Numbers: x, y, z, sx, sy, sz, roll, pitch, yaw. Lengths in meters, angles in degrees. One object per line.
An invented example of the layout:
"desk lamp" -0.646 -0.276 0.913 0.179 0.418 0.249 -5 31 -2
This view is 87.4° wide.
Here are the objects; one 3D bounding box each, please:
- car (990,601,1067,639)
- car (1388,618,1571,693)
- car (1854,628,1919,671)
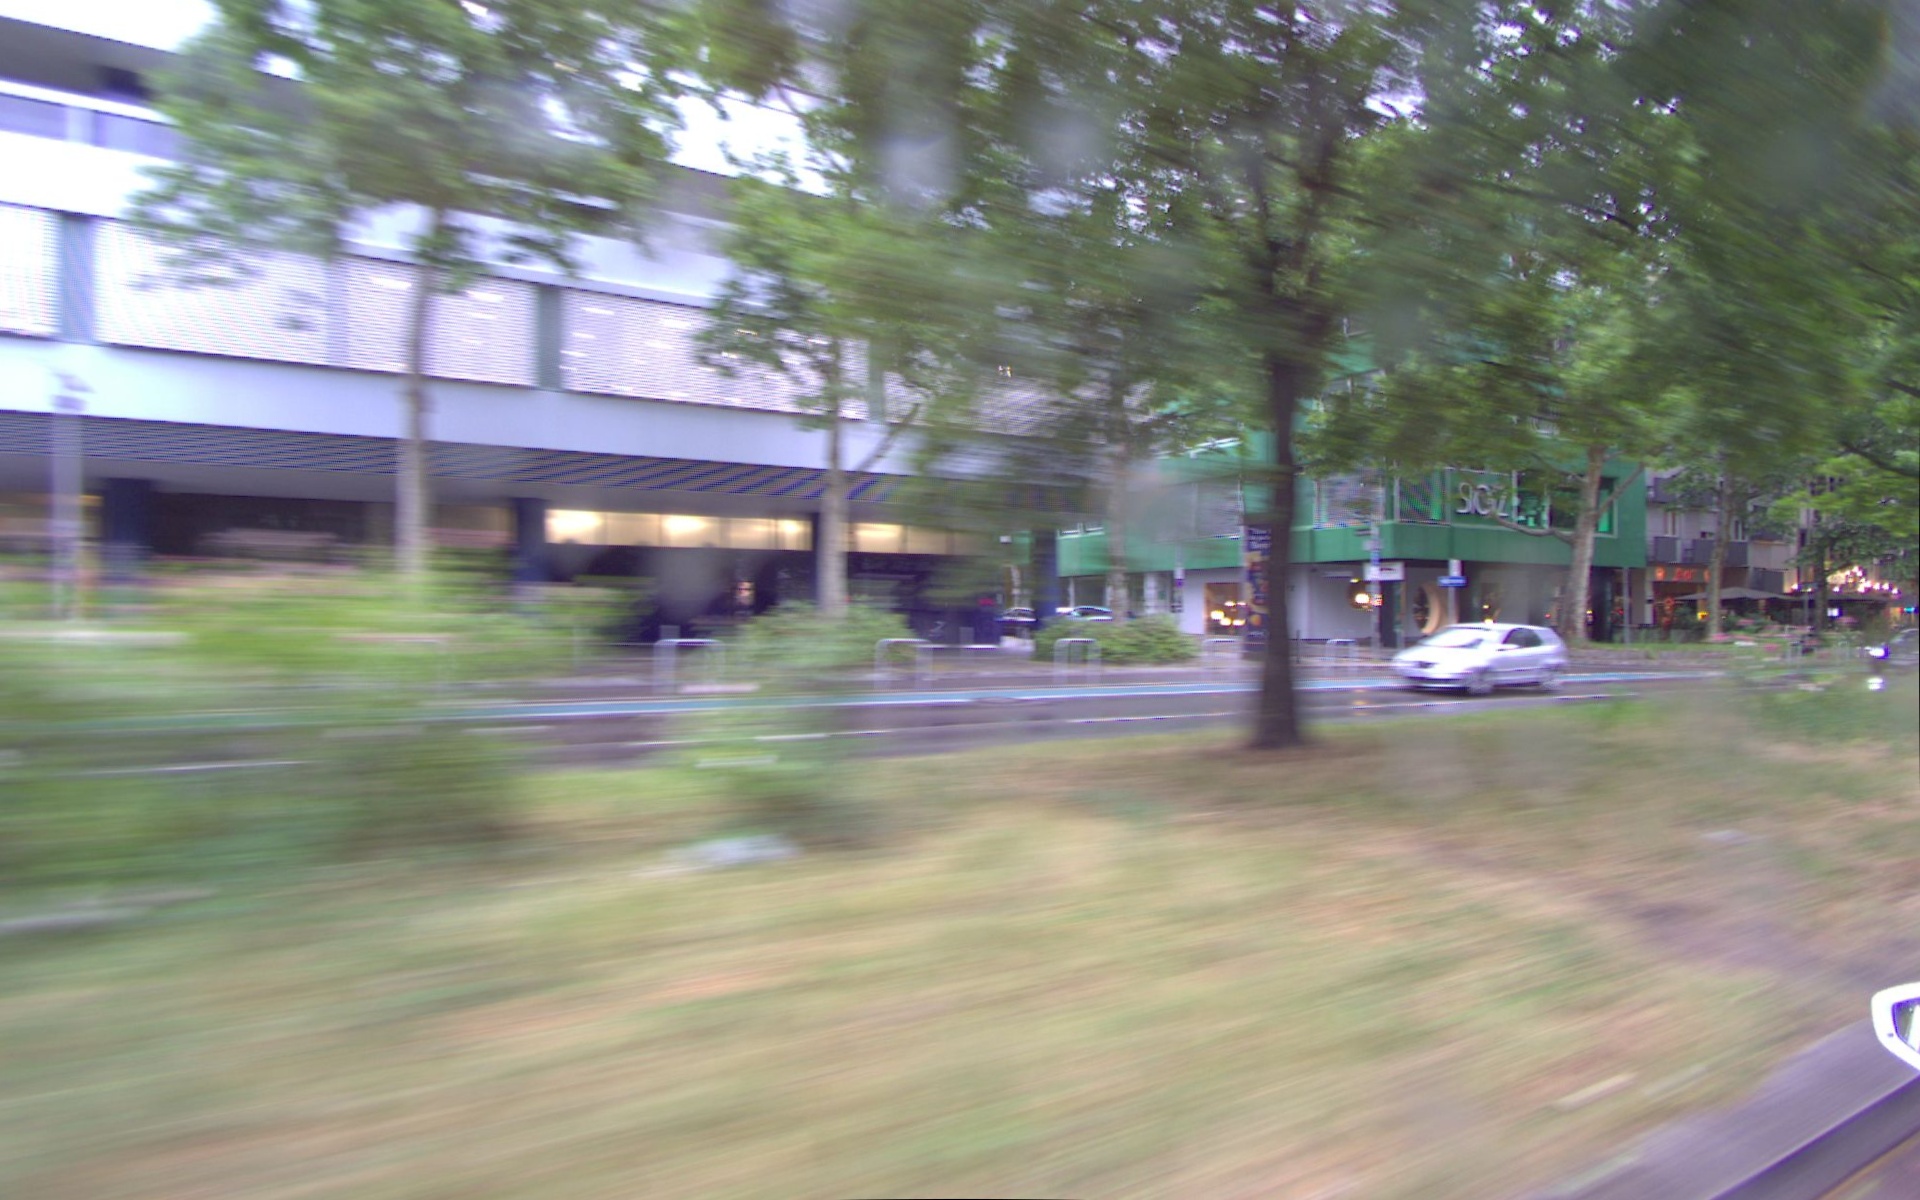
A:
"car" 3.004 0.871 44.673 1.678 1.488 3.603 2 0 -30
"car" 10.964 1.145 21.170 3.767 1.454 1.641 2 -1 -30
"car" 31.194 1.620 33.317 3.613 1.275 1.675 2 0 -39
